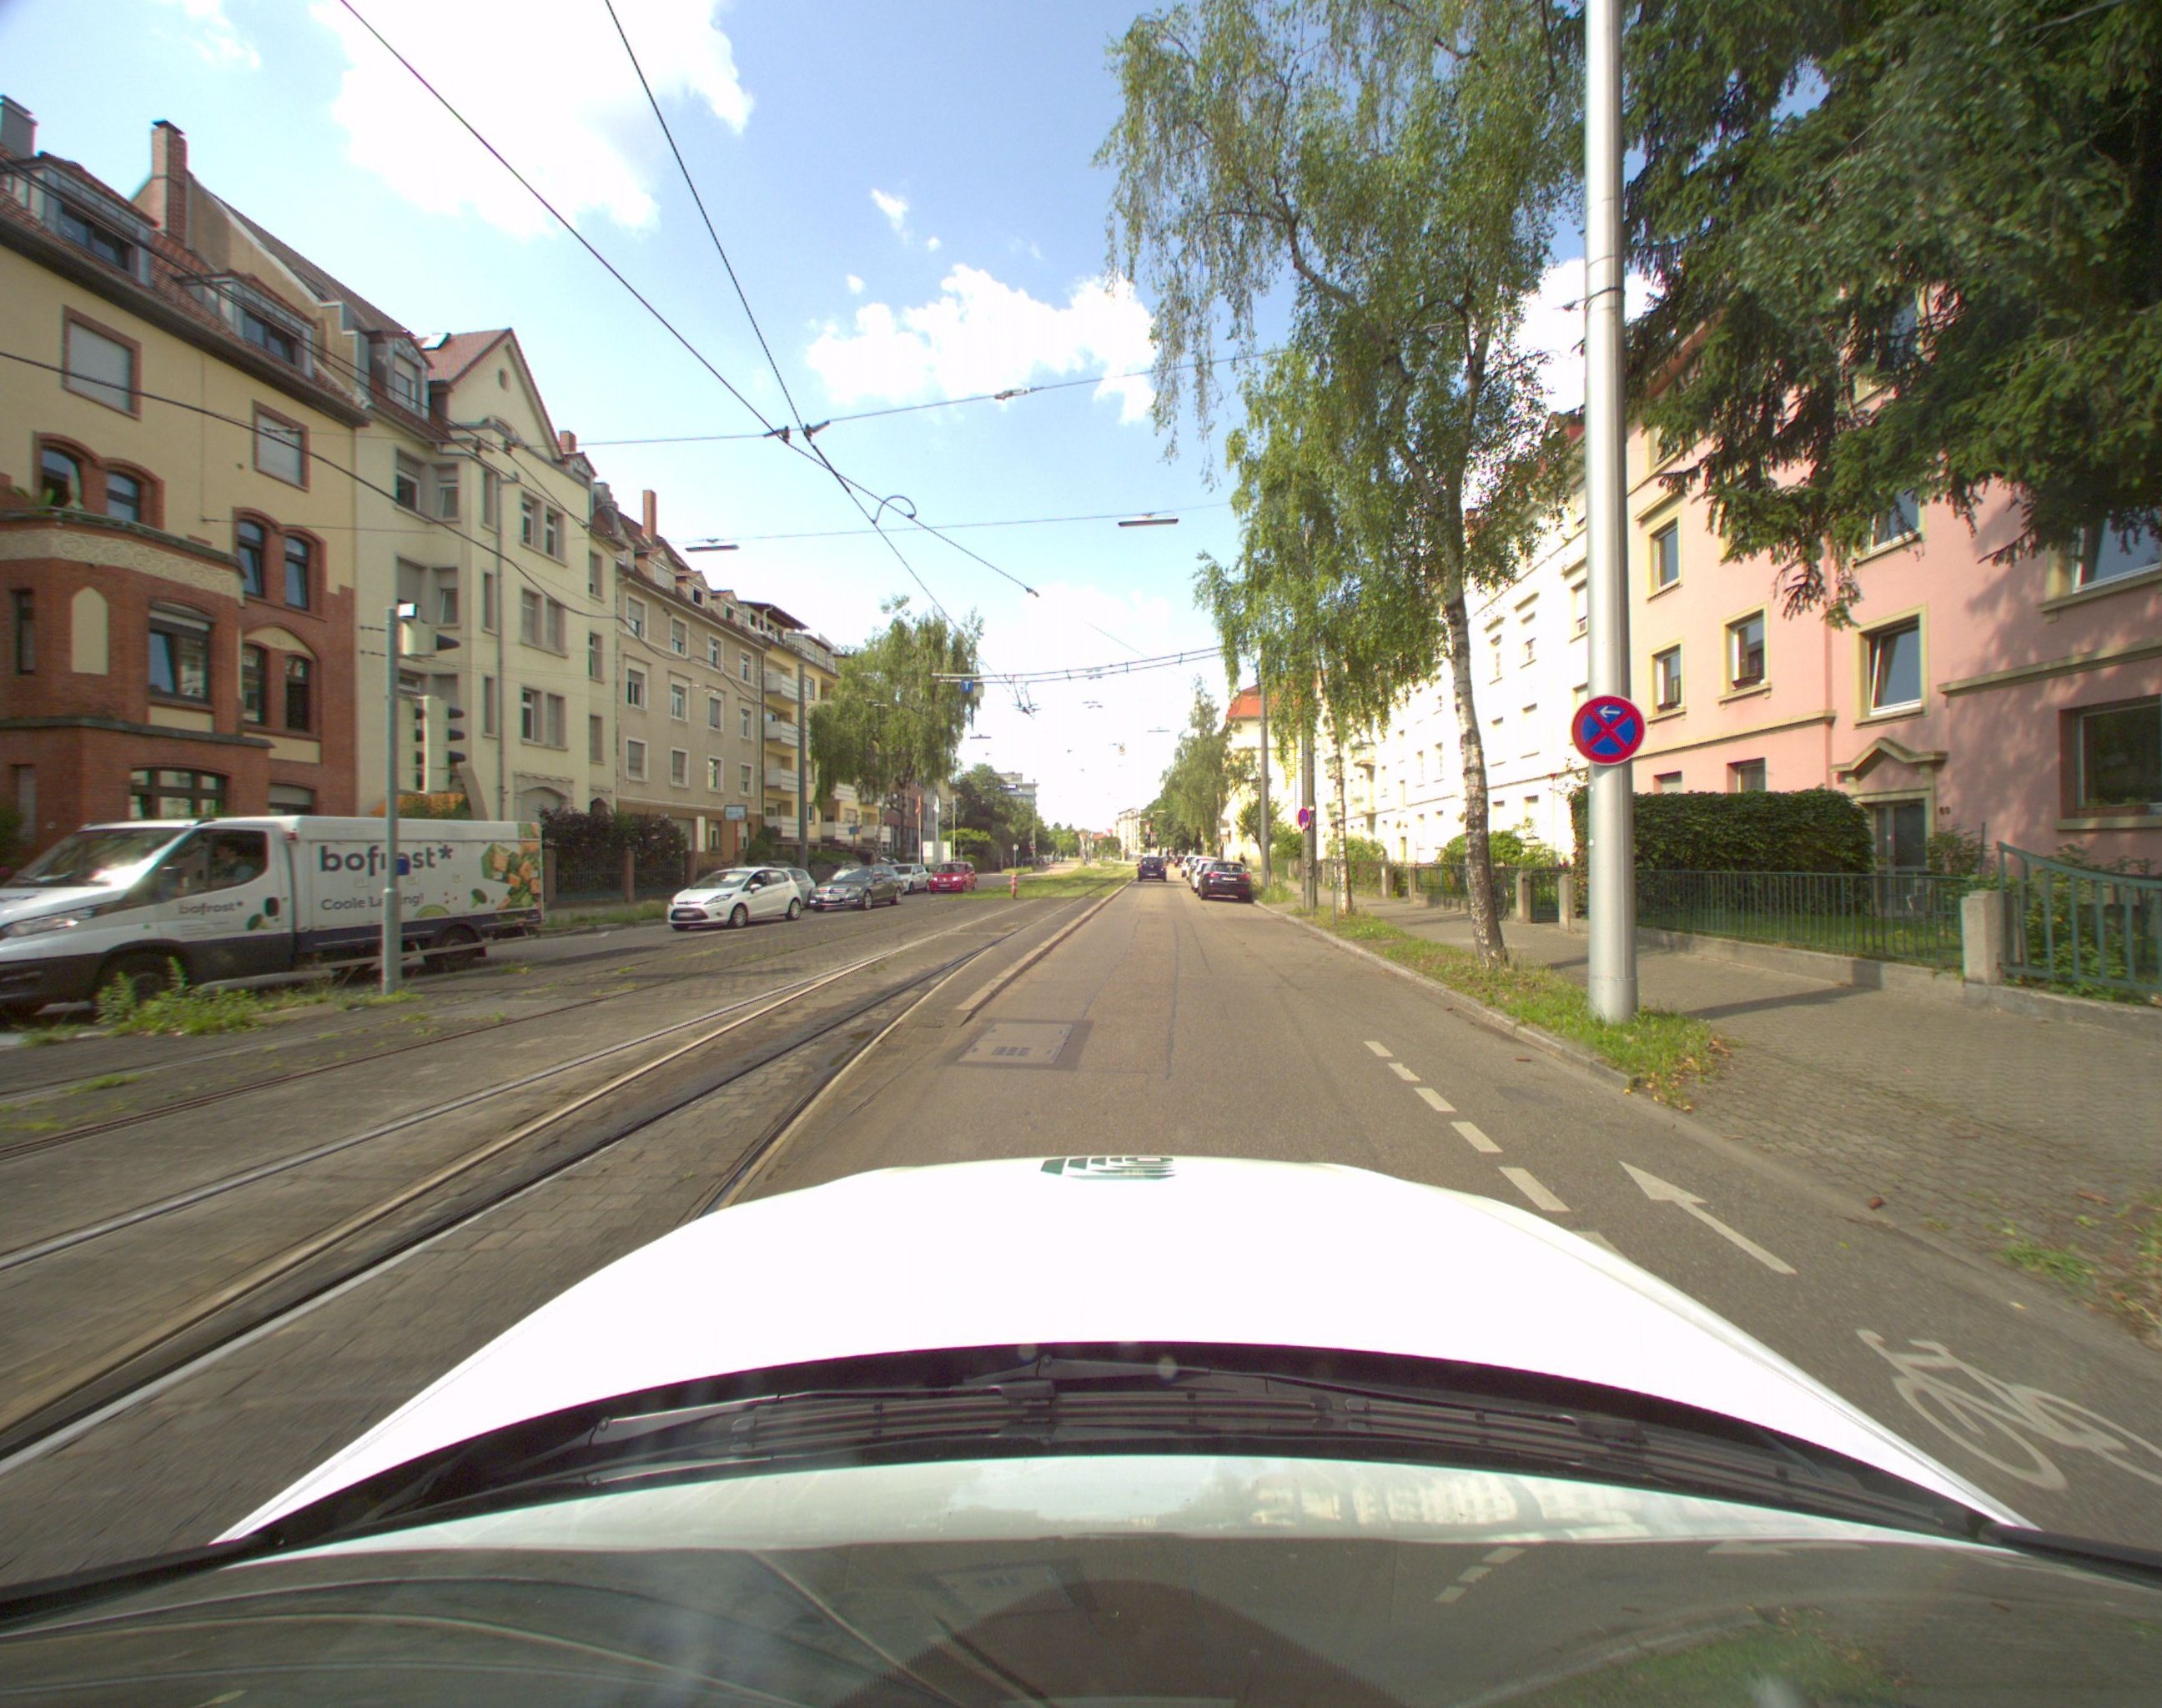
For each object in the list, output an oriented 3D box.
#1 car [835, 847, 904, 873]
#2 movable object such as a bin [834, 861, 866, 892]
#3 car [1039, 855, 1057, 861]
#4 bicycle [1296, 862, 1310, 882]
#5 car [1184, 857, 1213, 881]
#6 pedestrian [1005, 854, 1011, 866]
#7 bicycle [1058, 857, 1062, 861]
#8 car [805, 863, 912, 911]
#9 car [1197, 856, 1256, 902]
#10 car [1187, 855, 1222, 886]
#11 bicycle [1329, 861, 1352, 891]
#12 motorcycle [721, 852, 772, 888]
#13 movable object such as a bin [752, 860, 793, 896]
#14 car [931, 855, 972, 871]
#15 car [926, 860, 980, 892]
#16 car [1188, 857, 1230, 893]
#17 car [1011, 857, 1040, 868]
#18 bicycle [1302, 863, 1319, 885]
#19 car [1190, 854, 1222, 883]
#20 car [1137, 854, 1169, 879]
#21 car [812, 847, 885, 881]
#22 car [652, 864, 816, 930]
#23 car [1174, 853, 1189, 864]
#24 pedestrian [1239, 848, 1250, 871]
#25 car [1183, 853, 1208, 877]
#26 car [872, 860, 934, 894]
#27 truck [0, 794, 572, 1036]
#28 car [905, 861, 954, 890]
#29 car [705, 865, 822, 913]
[{"bbox_3d":[-13.958,0.387,53.889,3.967,1.602,1.976,1,0,6],"label":"car"},{"bbox_3d":[-11.111,1.080,39.147,0.946,1.430,1.524,2,0,5],"label":"movable object such as a bin"},{"bbox_3d":[-7.758,0.948,189.988,4.016,1.447,1.710,0,0,-35],"label":"car"},{"bbox_3d":[10.802,0.883,39.676,0.385,0.938,1.588,0,0,6],"label":"bicycle"},{"bbox_3d":[7.505,0.961,52.286,1.664,1.417,3.801,2,0,5],"label":"car"},{"bbox_3d":[-10.060,0.791,112.262,0.741,1.574,0.891,-1,-2,8],"label":"pedestrian"},{"bbox_3d":[-4.857,1.228,188.397,0.677,0.971,2.181,-1,0,4],"label":"bicycle"},{"bbox_3d":[-7.230,1.031,26.989,1.745,1.356,4.522,-2,-1,8],"label":"car"},{"bbox_3d":[5.400,0.868,30.675,1.783,1.520,4.533,2,0,5],"label":"car"},{"bbox_3d":[6.398,0.834,42.410,1.581,1.452,3.851,3,0,6],"label":"car"},{"bbox_3d":[9.988,0.842,31.417,0.469,1.077,2.187,-1,0,7],"label":"bicycle"},{"bbox_3d":[-12.232,0.570,29.870,0.897,1.242,2.294,0,0,0],"label":"motorcycle"},{"bbox_3d":[-12.342,0.927,32.622,0.946,1.367,1.524,1,0,5],"label":"movable object such as a bin"},{"bbox_3d":[-13.570,0.938,85.531,3.970,1.596,2.001,0,0,3],"label":"car"},{"bbox_3d":[-6.058,1.016,38.922,1.570,1.387,3.699,-1,0,7],"label":"car"},{"bbox_3d":[5.803,0.904,37.226,1.611,1.452,3.925,3,0,6],"label":"car"},{"bbox_3d":[-8.148,1.214,119.897,4.153,1.640,1.706,0,0,-39],"label":"car"},{"bbox_3d":[10.617,0.907,37.728,0.376,0.943,2.012,0,0,6],"label":"bicycle"},{"bbox_3d":[7.163,0.812,46.917,1.486,1.579,3.764,2,0,5],"label":"car"},{"bbox_3d":[4.369,0.724,48.863,1.758,1.462,3.783,-1,0,7],"label":"car"},{"bbox_3d":[-14.768,0.605,51.793,3.963,2.013,1.942,1,0,9],"label":"car"},{"bbox_3d":[-8.515,0.998,20.426,1.744,1.414,4.145,-2,-1,10],"label":"car"},{"bbox_3d":[12.942,0.542,105.059,1.692,1.368,3.519,1,0,4],"label":"car"},{"bbox_3d":[12.419,0.428,61.951,0.725,1.683,0.693,-3,-1,10],"label":"pedestrian"},{"bbox_3d":[8.513,0.794,60.200,1.711,1.629,4.010,2,0,9],"label":"car"},{"bbox_3d":[-8.607,1.083,39.719,1.636,1.477,4.233,-1,0,7],"label":"car"},{"bbox_3d":[-10.405,0.578,10.863,2.171,2.214,6.631,-2,0,10],"label":"truck"},{"bbox_3d":[-8.280,1.146,44.782,1.585,1.432,3.621,-1,0,7],"label":"car"},{"bbox_3d":[-10.027,1.071,26.084,1.745,1.356,4.003,-1,0,8],"label":"car"}]
